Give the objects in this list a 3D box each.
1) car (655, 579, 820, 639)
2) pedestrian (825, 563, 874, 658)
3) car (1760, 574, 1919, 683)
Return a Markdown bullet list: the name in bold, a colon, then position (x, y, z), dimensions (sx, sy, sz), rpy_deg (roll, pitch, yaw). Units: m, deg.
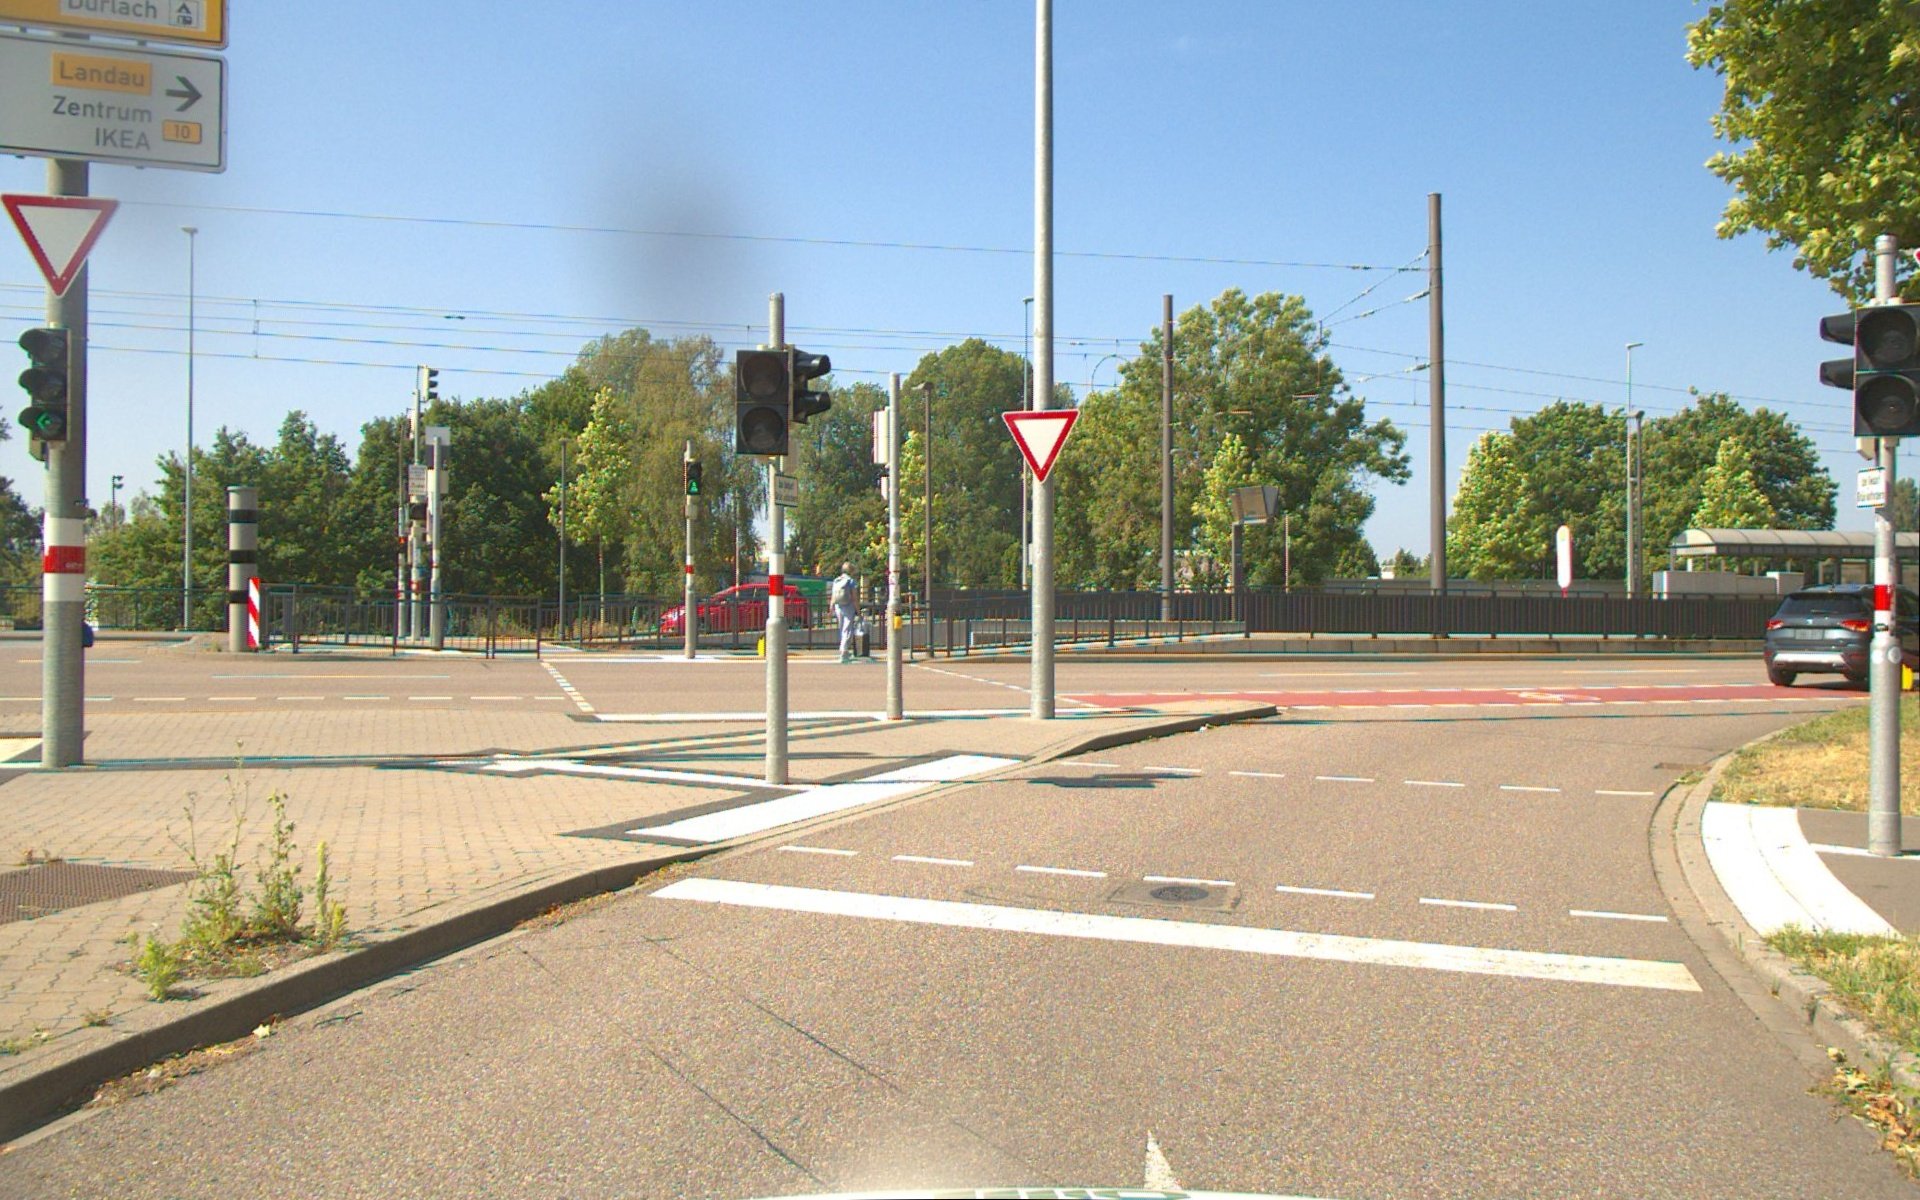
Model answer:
- **car**: position (-5.701, 0.207, 42.408), dimensions (3.930, 1.470, 1.736), rpy_deg (0, 1, -22)
- **pedestrian**: position (-1.839, 0.165, 27.489), dimensions (0.758, 1.537, 1.006), rpy_deg (0, 2, -8)
- **car**: position (13.876, 0.417, 25.286), dimensions (3.341, 1.550, 1.653), rpy_deg (1, 0, -38)
